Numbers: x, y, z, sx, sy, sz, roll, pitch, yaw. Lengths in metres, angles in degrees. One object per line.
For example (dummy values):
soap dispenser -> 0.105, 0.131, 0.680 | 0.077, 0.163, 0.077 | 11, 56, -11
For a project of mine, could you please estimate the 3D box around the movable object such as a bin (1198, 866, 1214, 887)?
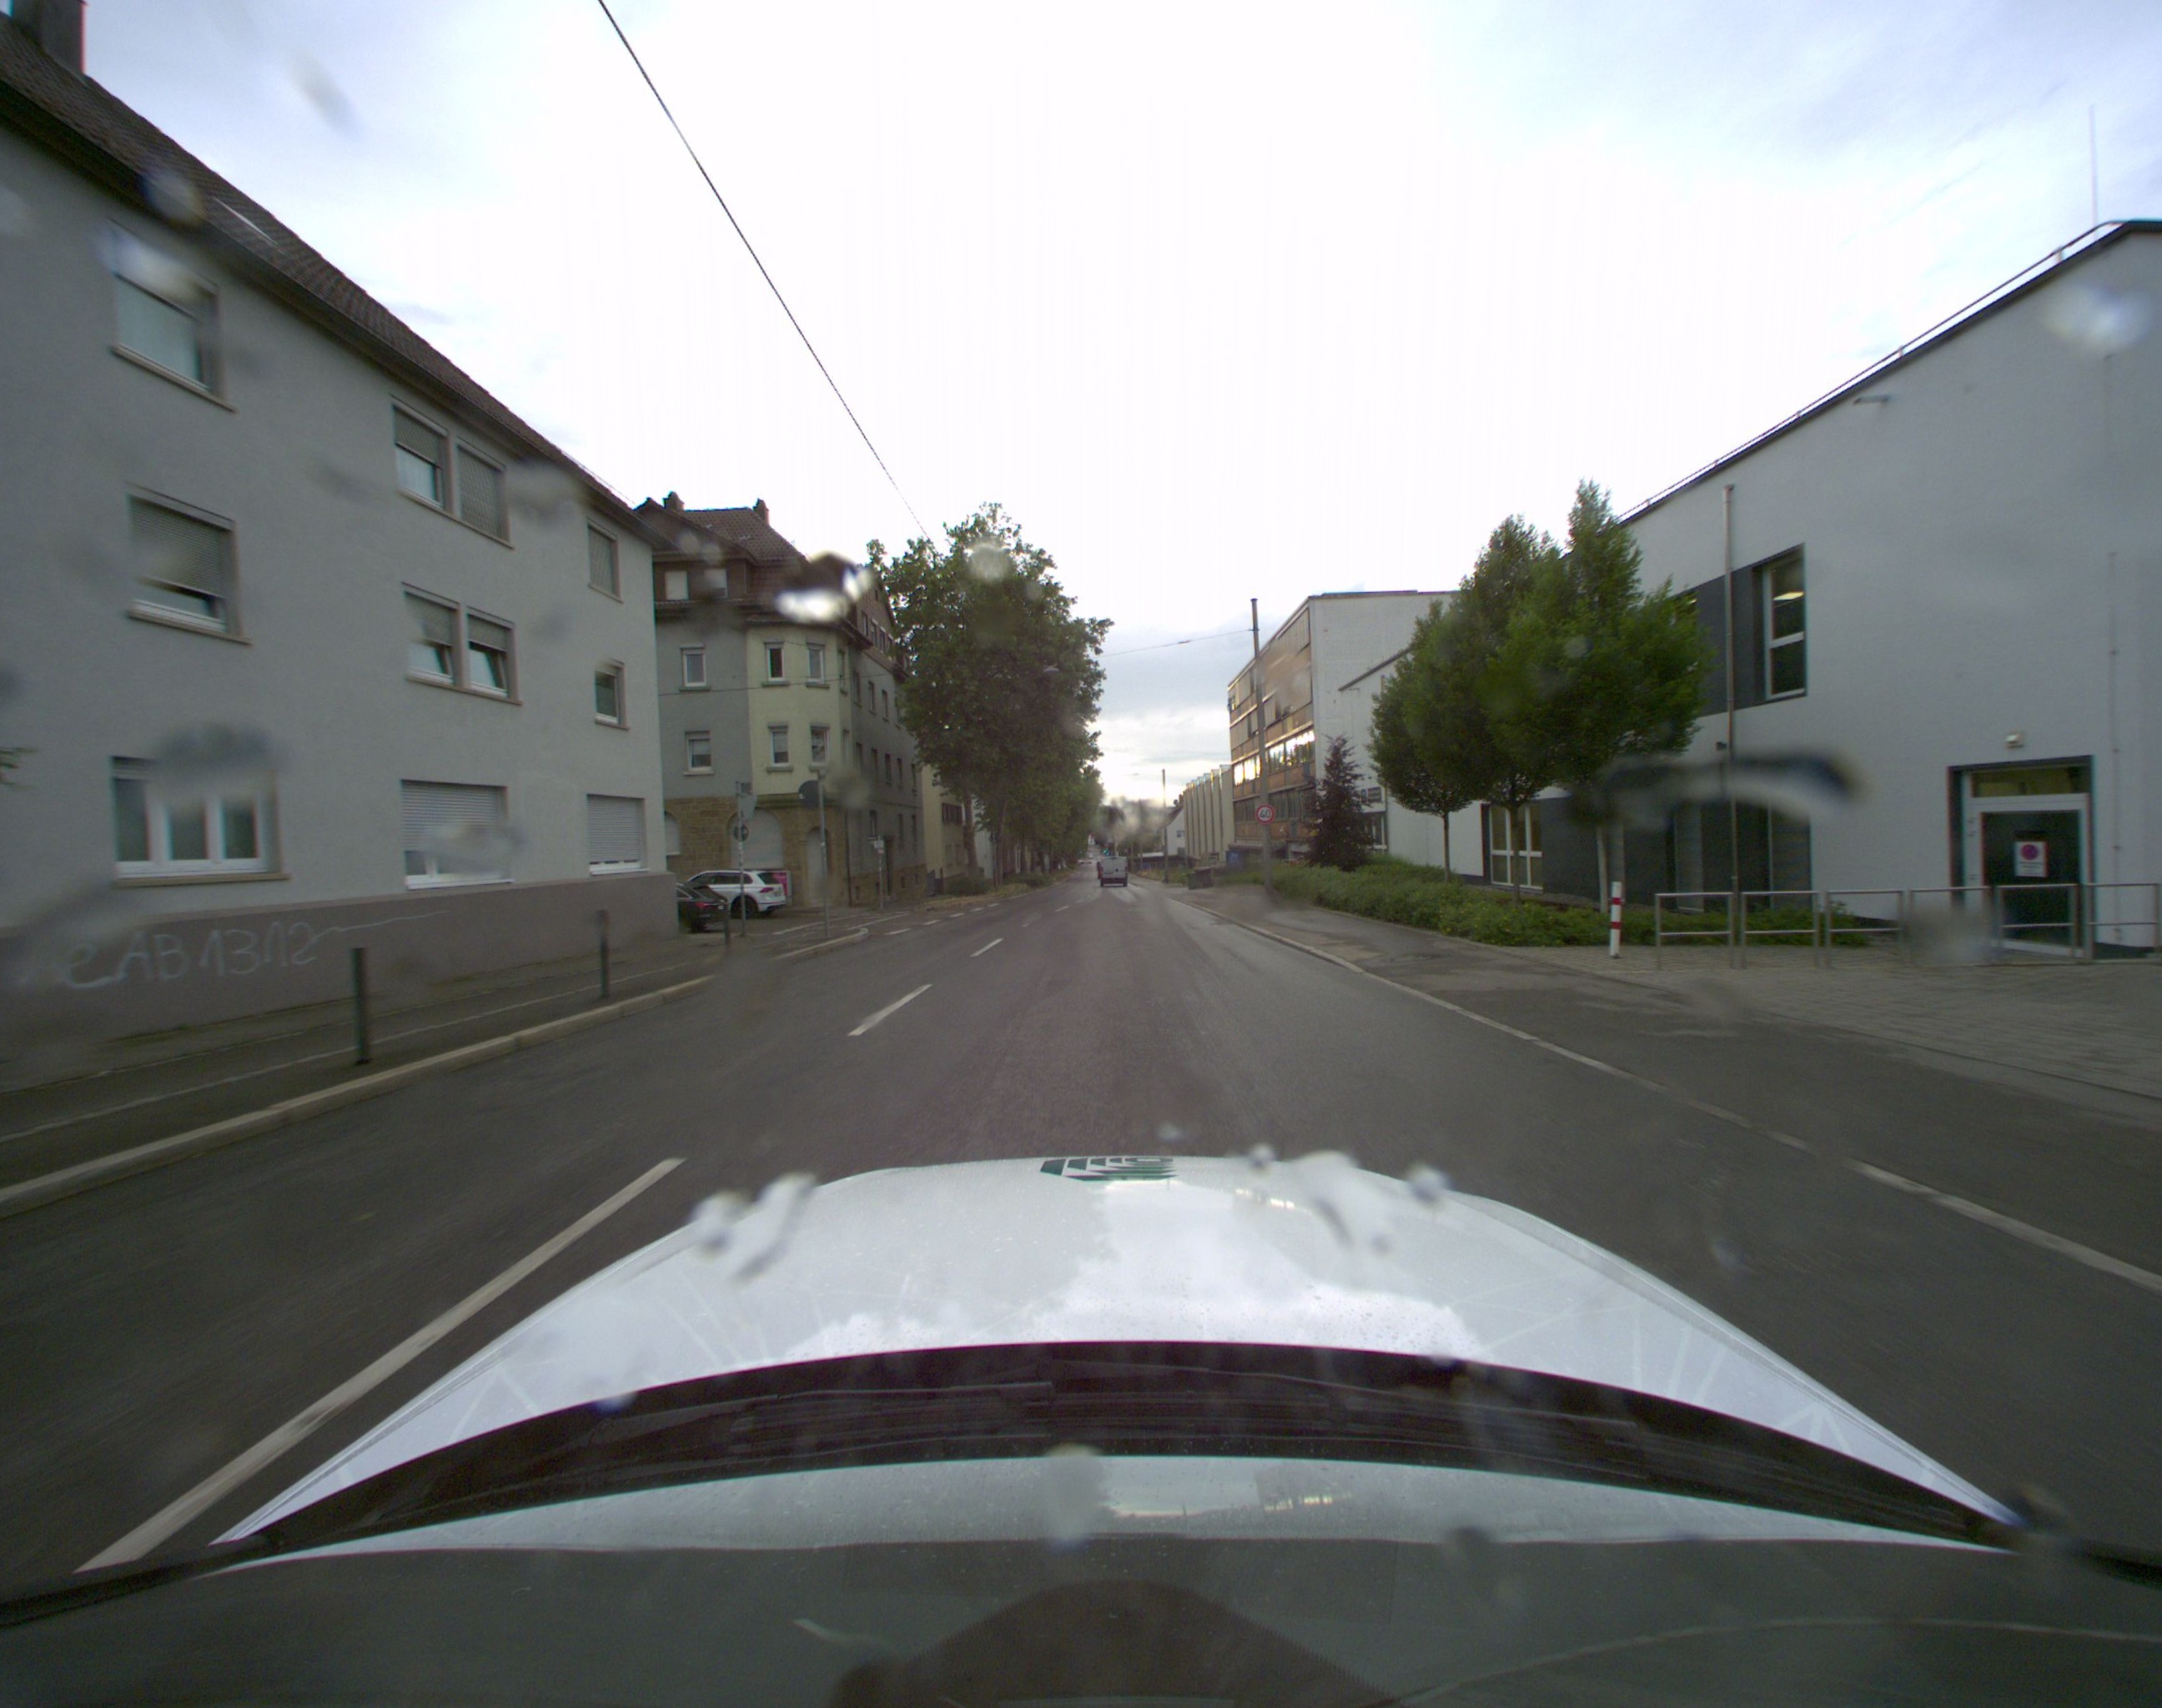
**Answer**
movable object such as a bin -> 6.956, 1.267, 45.375 | 0.692, 1.082, 0.779 | -5, -1, 2

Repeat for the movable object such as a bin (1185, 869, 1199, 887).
movable object such as a bin -> 6.171, 1.351, 45.227 | 0.617, 0.936, 0.686 | -5, -1, 2

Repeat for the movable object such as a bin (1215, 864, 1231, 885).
movable object such as a bin -> 7.924, 1.136, 45.416 | 0.692, 1.082, 0.779 | -5, -1, 2

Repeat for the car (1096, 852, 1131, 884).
car -> 2.450, 1.058, 62.965 | 2.340, 2.160, 4.776 | -3, 1, -1

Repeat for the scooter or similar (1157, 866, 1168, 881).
scooter or similar -> 6.419, 1.553, 64.128 | 0.604, 1.162, 1.698 | -2, -1, -3

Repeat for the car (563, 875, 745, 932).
car -> -11.846, 1.344, 22.791 | 3.973, 1.398, 2.000 | 1, 0, 0

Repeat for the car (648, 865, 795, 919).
car -> -12.438, 1.280, 28.367 | 4.167, 1.704, 2.000 | 1, 0, 1

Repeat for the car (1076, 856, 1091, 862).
car -> 0.658, 1.501, 225.942 | 1.974, 1.576, 4.025 | -2, 0, 41

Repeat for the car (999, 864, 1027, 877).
car -> -10.701, 2.645, 128.604 | 4.183, 1.892, 2.000 | -2, -1, 0
